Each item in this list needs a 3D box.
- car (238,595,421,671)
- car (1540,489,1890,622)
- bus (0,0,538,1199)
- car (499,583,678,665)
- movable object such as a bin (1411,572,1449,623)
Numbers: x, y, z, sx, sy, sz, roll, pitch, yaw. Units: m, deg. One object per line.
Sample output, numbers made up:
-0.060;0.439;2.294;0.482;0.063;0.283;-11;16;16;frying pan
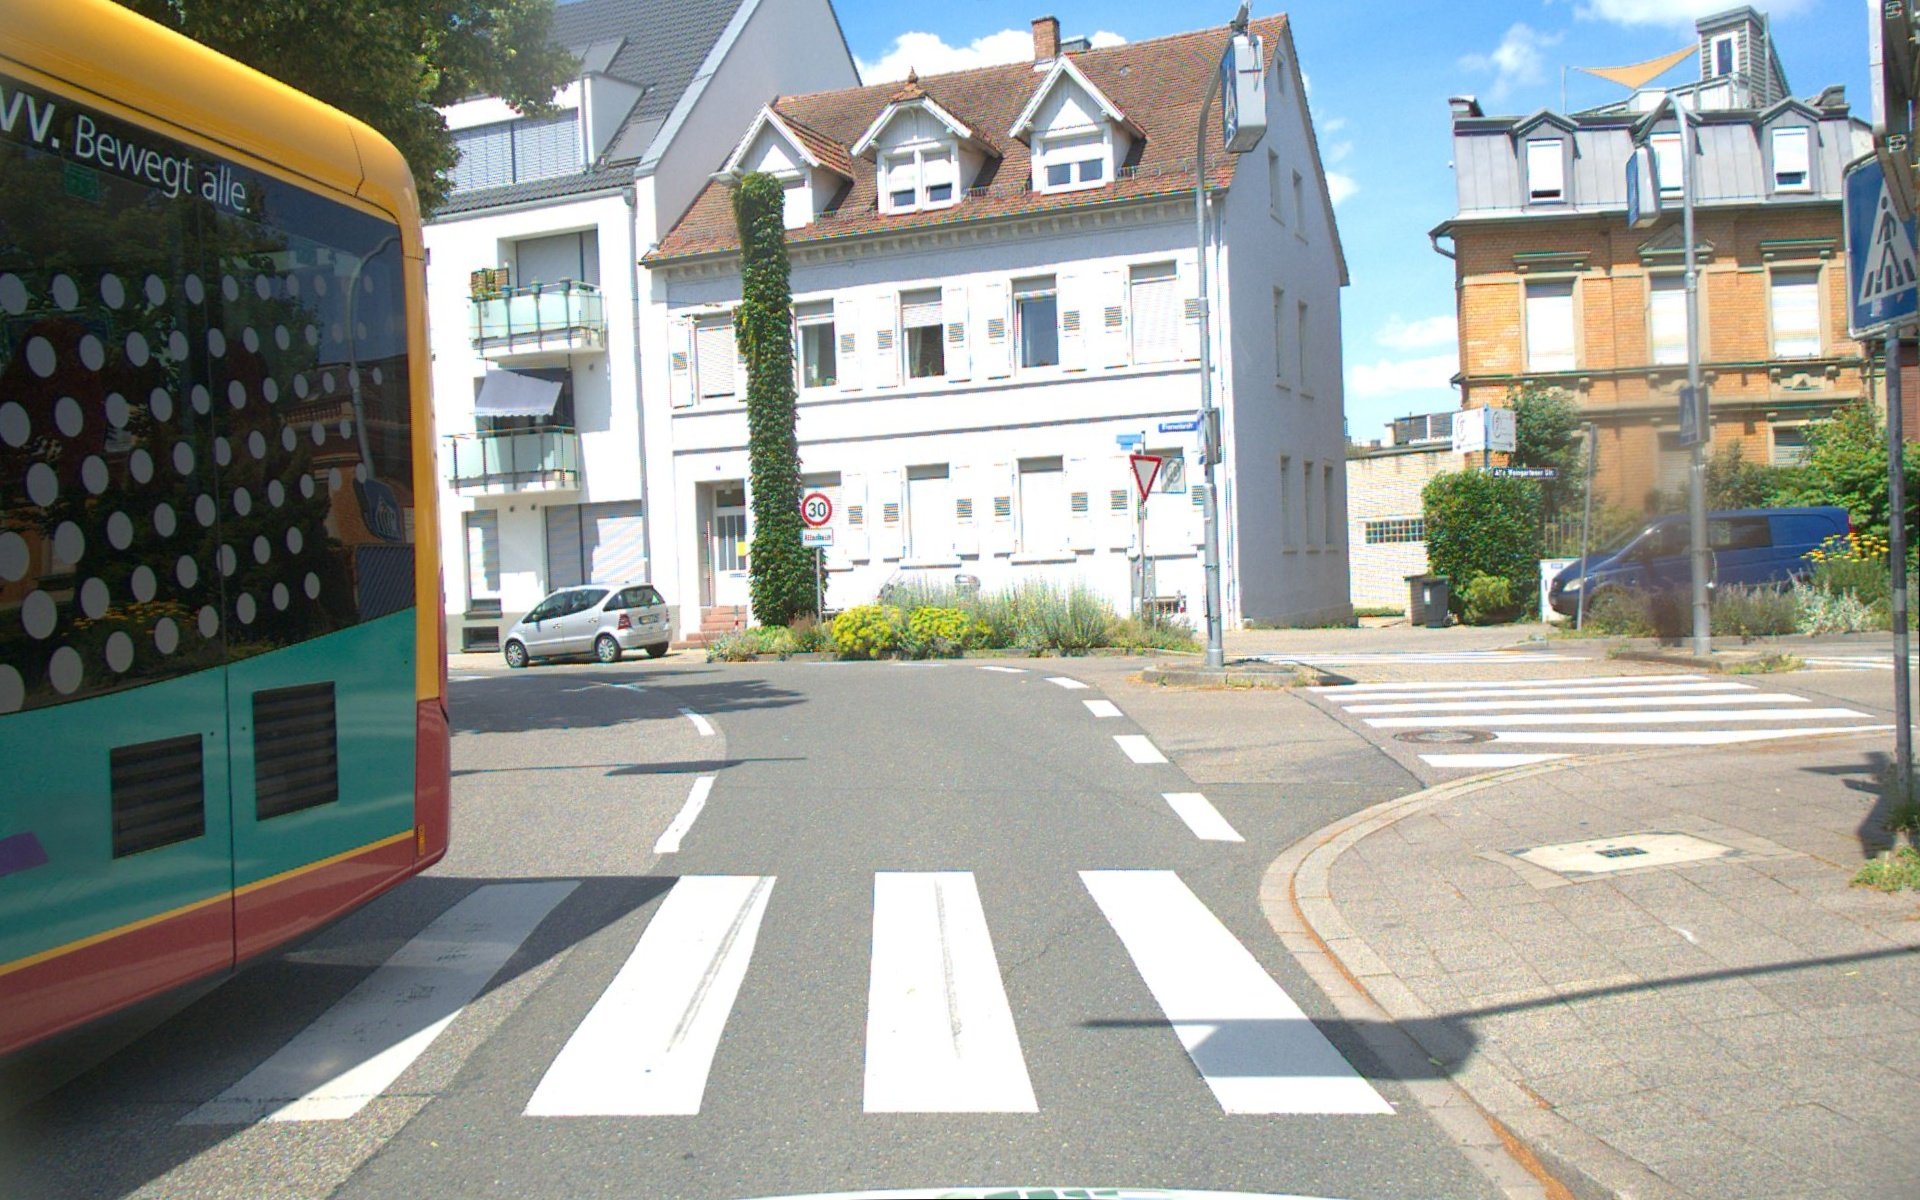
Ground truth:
-14.263;0.735;37.410;3.820;1.490;1.661;-1;5;27;car
13.053;-0.768;28.912;5.114;1.981;2.085;-3;2;8;car
-4.134;-0.148;0.667;2.720;3.264;12.319;-1;1;10;bus
-7.730;0.506;34.359;3.539;1.614;1.581;-1;-1;31;car
8.641;-0.044;30.429;0.413;0.932;0.555;0;-1;-25;movable object such as a bin
